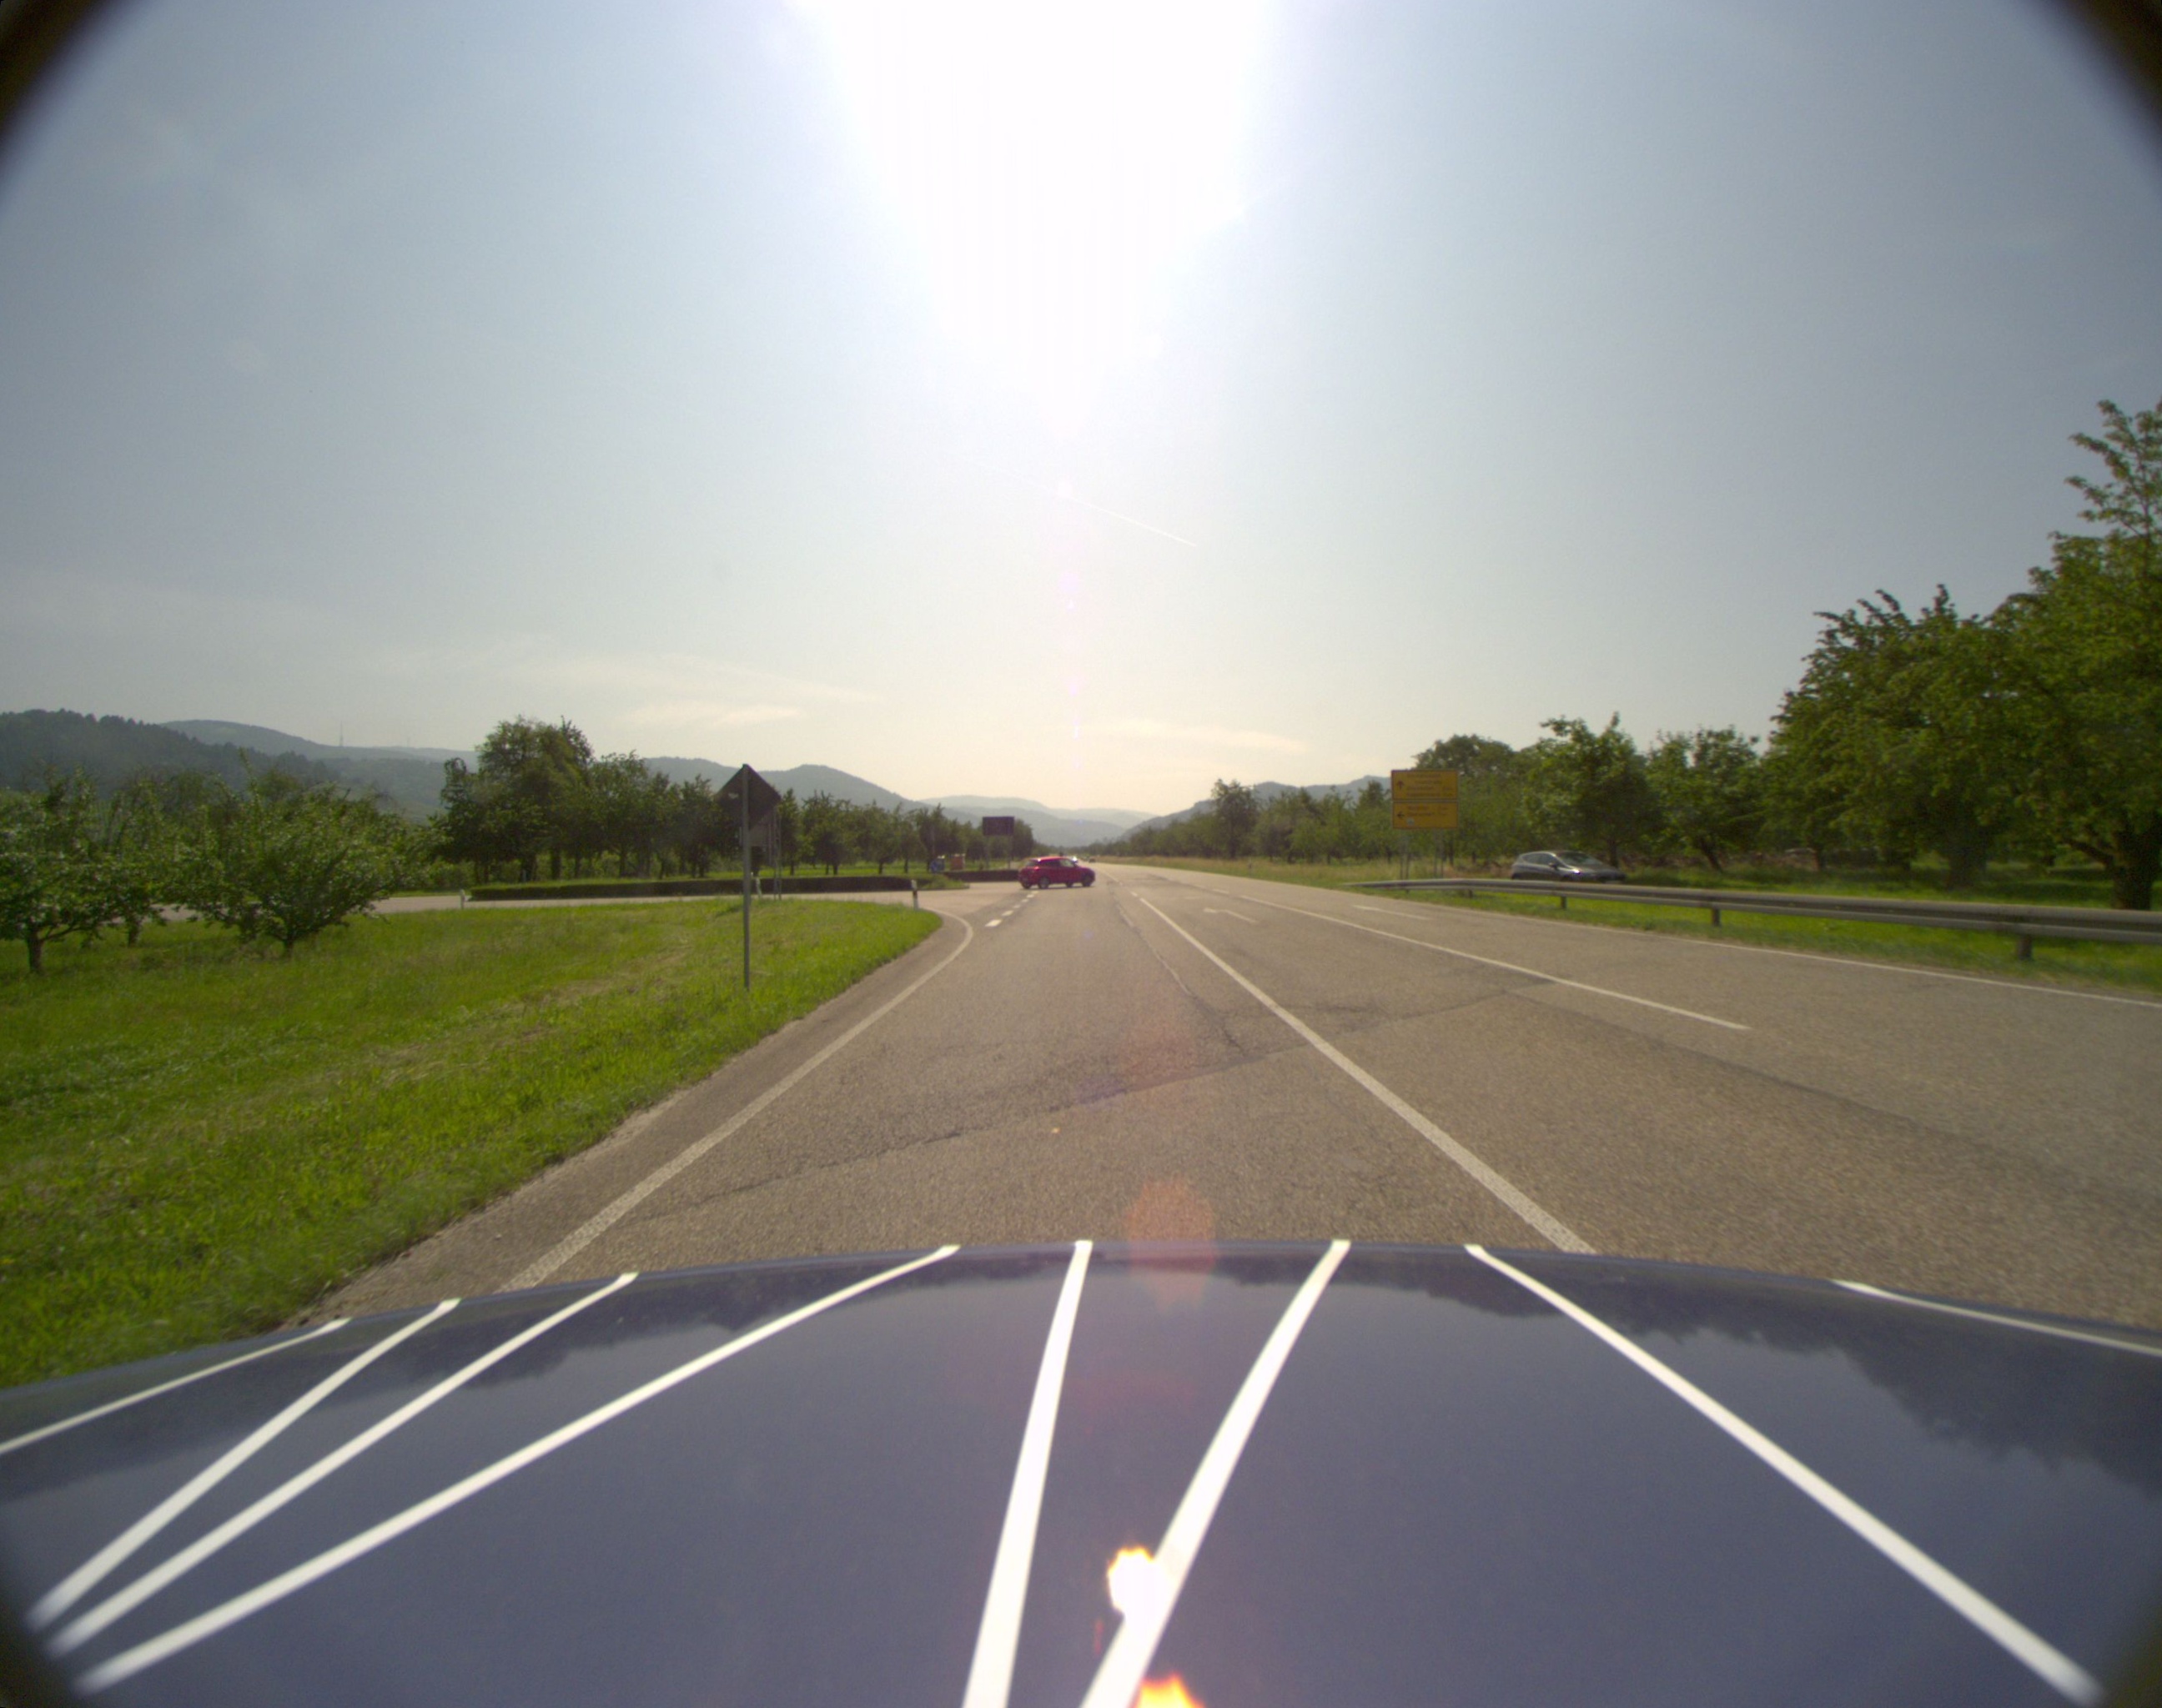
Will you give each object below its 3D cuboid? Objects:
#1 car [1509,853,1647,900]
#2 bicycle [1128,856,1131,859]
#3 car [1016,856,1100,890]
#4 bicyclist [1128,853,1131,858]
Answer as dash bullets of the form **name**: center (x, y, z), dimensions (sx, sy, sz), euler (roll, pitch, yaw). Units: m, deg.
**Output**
- **car**: center (16.253, 0.669, 25.095), dimensions (1.709, 1.414, 4.041), euler (-1, 0, -4)
- **bicycle**: center (14.117, 0.967, 222.317), dimensions (0.742, 0.983, 2.224), euler (-2, 1, 0)
- **car**: center (-1.100, 0.903, 37.179), dimensions (3.758, 1.484, 1.667), euler (-2, 0, -33)
- **bicyclist**: center (14.126, 0.515, 222.335), dimensions (0.742, 1.446, 0.863), euler (-2, 1, 0)
